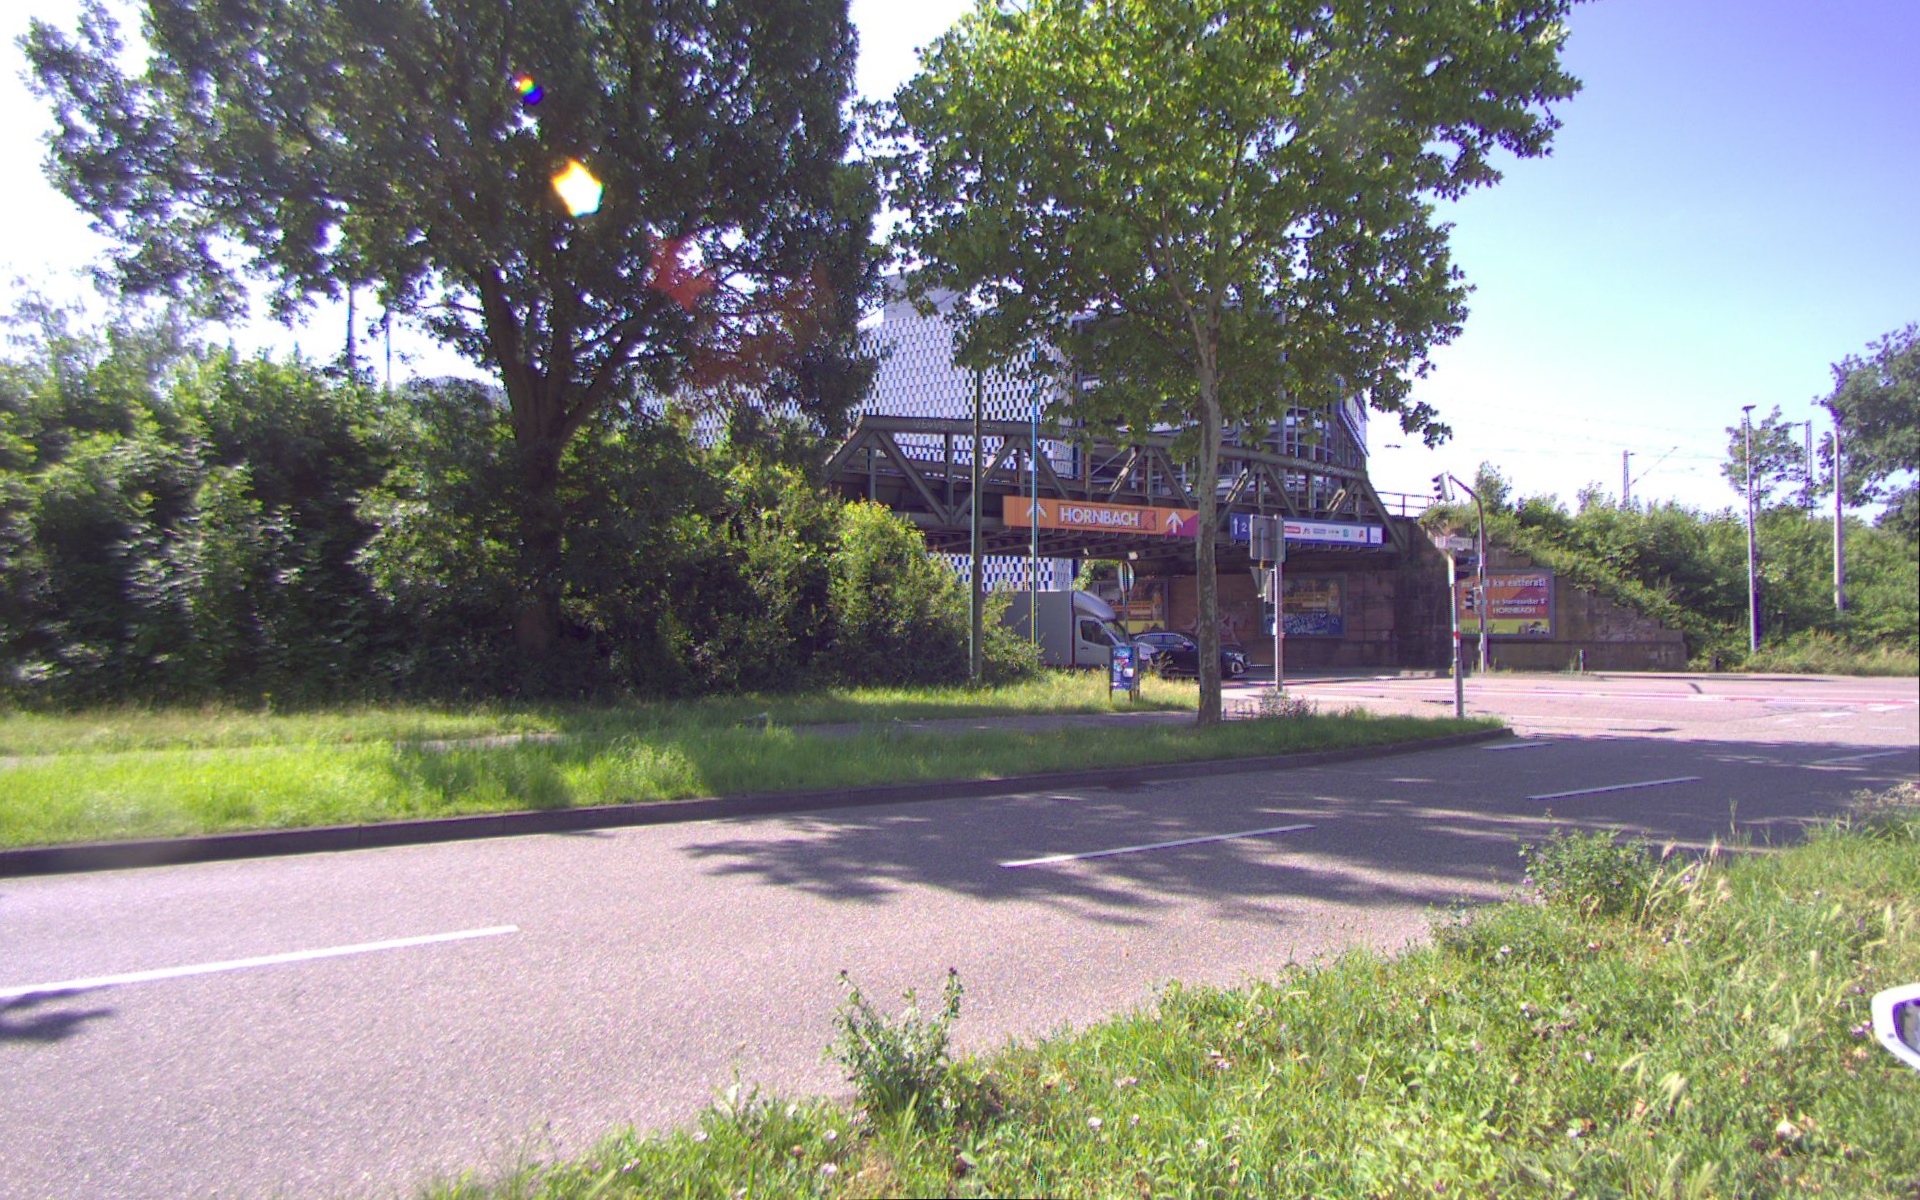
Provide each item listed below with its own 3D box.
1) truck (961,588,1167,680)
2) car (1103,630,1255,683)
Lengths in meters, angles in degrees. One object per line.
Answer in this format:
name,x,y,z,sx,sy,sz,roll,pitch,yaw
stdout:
truck,3.316,1.024,32.464,6.286,2.748,1.998,1,-1,26
car,7.588,1.909,34.957,4.957,1.617,1.526,1,-1,24
